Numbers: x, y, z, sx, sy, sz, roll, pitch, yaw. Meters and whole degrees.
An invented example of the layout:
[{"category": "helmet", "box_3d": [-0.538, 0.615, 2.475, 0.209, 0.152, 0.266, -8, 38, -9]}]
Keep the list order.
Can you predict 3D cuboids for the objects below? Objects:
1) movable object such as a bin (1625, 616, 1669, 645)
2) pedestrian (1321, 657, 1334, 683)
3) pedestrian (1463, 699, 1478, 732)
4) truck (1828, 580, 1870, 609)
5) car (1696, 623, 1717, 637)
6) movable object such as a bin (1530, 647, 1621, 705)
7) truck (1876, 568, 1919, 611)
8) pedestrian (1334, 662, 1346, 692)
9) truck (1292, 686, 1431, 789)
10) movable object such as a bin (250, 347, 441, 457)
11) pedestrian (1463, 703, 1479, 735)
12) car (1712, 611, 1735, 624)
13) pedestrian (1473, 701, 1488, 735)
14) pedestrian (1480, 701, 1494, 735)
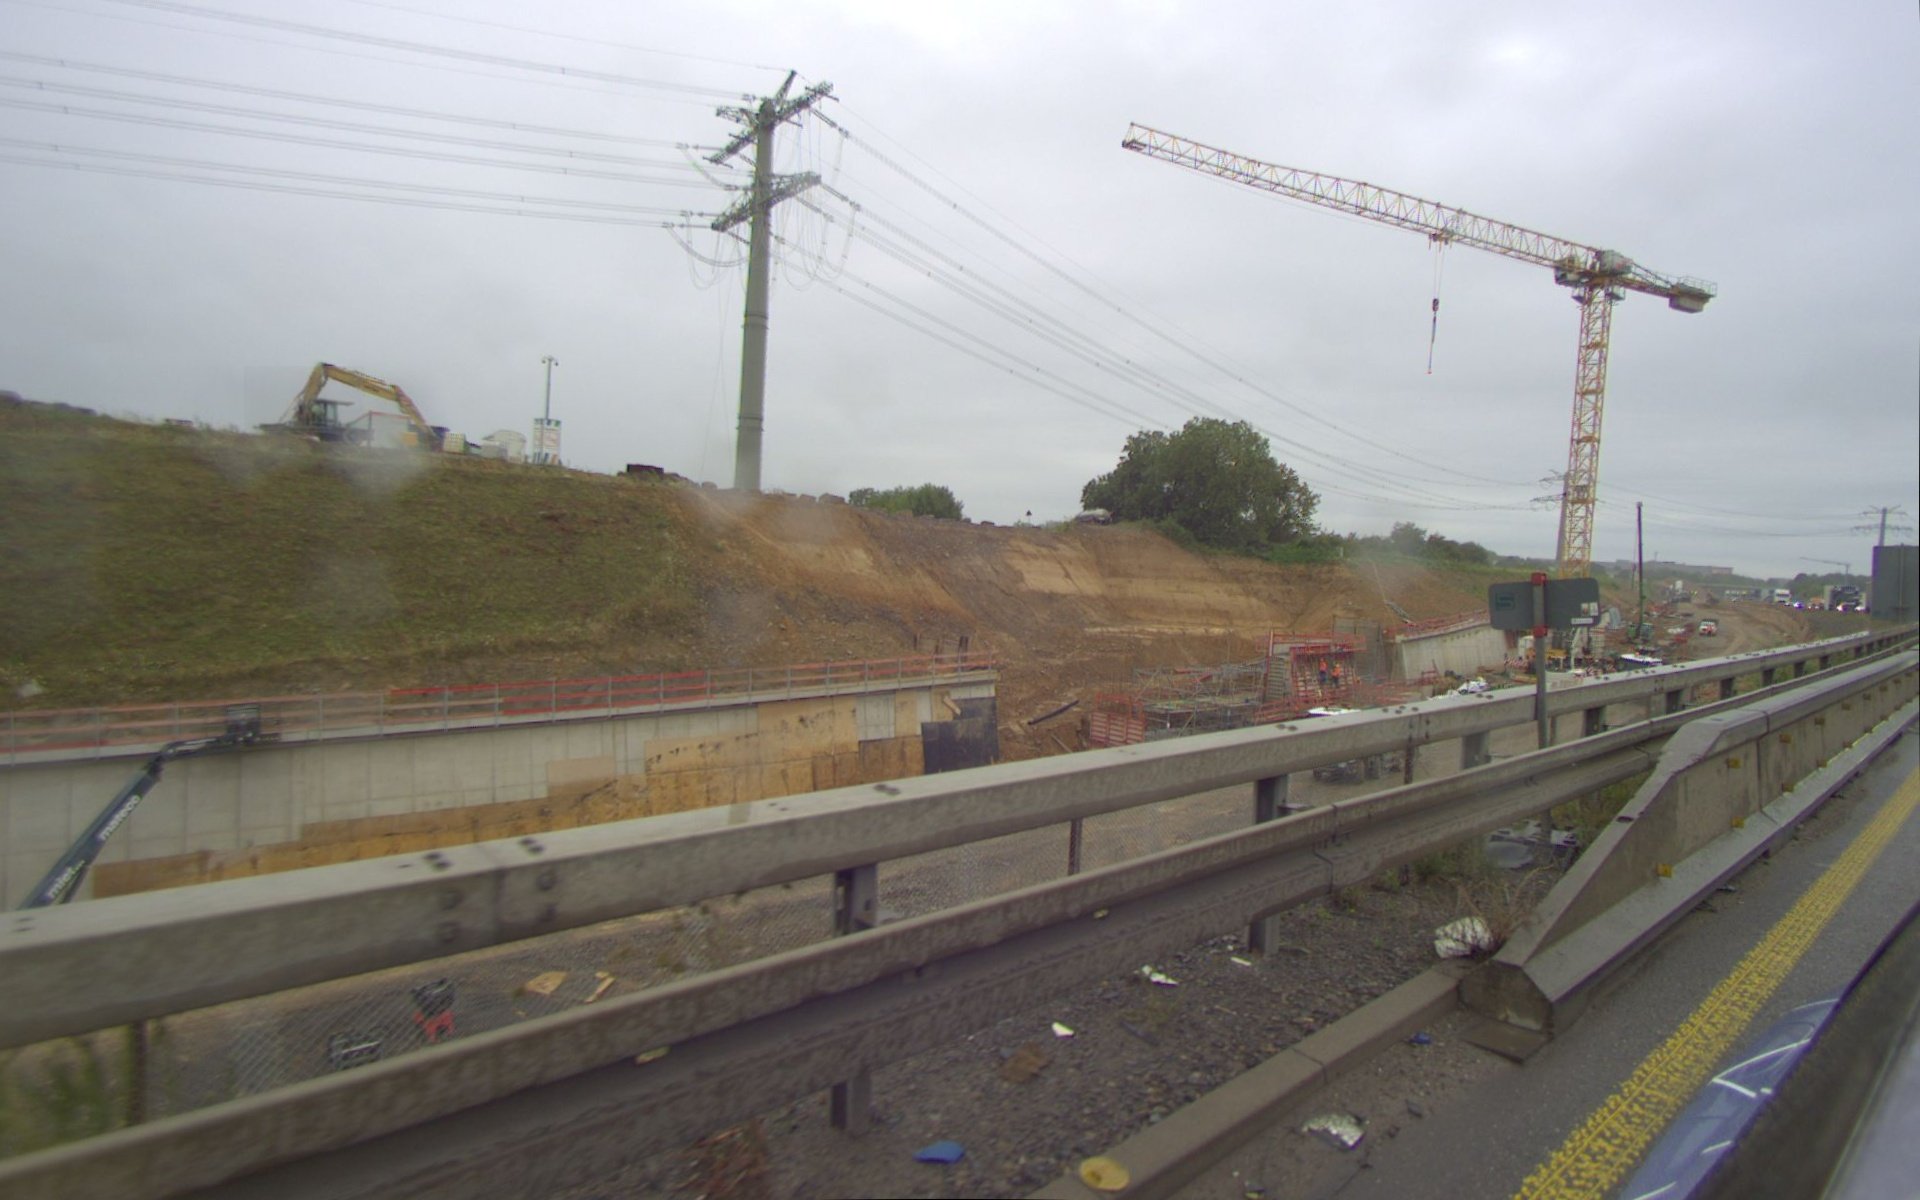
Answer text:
[{"category": "movable object such as a bin", "box_3d": [83.746, 3.676, 123.351, 3.496, 2.915, 3.937, 9, 7, 43]}, {"category": "pedestrian", "box_3d": [26.480, 5.011, 72.941, 0.570, 1.827, 0.490, -3, -3, -6]}, {"category": "pedestrian", "box_3d": [31.555, 7.129, 62.534, 0.602, 1.928, 0.474, 5, 4, 44]}, {"category": "truck", "box_3d": [125.476, -0.788, 142.885, 3.525, 3.942, 8.231, 0, 0, 35]}, {"category": "car", "box_3d": [99.177, 3.937, 134.449, 1.855, 1.638, 4.018, 3, 3, 42]}, {"category": "movable object such as a bin", "box_3d": [44.606, 5.403, 73.261, 6.531, 3.466, 3.518, -2, 2, -37]}, {"category": "truck", "box_3d": [100.277, -1.091, 106.702, 4.296, 4.399, 13.228, 0, 0, 37]}, {"category": "pedestrian", "box_3d": [27.757, 5.612, 73.913, 0.488, 2.127, 0.474, -5, -4, 44]}, {"category": "truck", "box_3d": [20.052, 6.622, 50.209, 8.922, 3.655, 2.707, -2, 4, -43]}, {"category": "movable object such as a bin", "box_3d": [-31.347, -9.944, 51.831, 8.029, 4.258, 3.107, 0, 2, -38]}, {"category": "pedestrian", "box_3d": [30.589, 7.102, 60.539, 0.602, 1.790, 0.474, 7, 5, 44]}, {"category": "car", "box_3d": [117.351, 2.690, 155.534, 2.344, 1.638, 4.785, 3, 3, 42]}, {"category": "pedestrian", "box_3d": [31.345, 7.122, 60.959, 0.602, 1.928, 0.604, 3, 3, 44]}, {"category": "pedestrian", "box_3d": [31.954, 7.167, 61.350, 0.602, 1.928, 0.474, 4, 3, 44]}]
